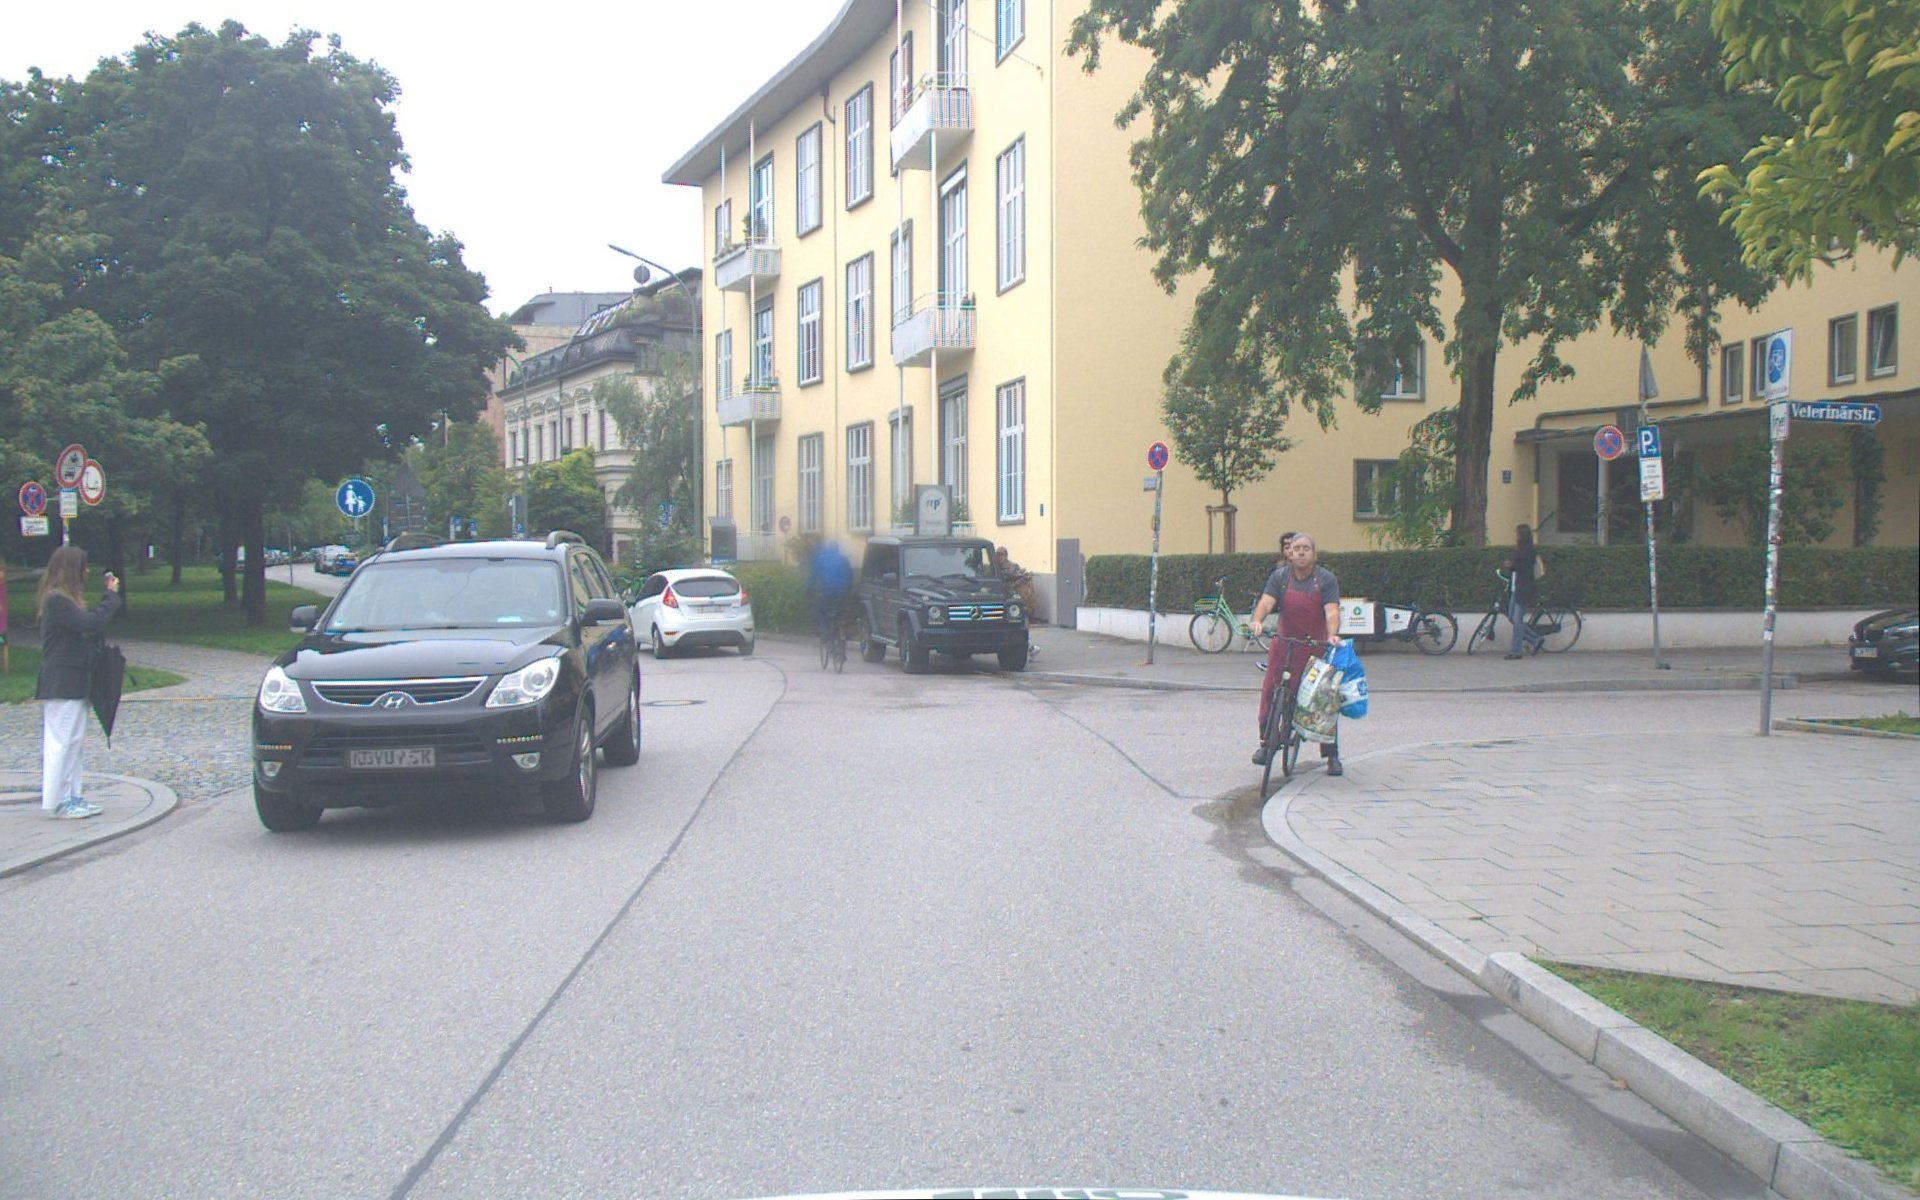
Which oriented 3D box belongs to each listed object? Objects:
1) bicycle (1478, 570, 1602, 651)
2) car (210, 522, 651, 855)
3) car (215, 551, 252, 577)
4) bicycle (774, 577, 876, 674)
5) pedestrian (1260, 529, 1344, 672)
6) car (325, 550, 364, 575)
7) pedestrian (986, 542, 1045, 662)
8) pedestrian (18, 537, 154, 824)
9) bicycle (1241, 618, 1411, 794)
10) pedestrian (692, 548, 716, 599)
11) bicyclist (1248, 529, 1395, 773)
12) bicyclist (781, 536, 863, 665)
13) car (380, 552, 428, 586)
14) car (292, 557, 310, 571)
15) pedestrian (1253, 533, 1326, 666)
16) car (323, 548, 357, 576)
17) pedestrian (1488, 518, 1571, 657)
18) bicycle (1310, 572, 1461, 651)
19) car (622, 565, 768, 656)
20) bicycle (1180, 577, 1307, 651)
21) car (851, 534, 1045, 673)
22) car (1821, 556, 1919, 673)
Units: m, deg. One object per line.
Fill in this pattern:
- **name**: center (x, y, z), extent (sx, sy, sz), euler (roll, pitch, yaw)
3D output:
- **bicycle**: center (8.390, 0.147, 23.937), extent (1.648, 1.150, 0.460), euler (-1, 1, -4)
- **car**: center (-3.251, 0.396, 11.163), extent (1.955, 1.749, 4.609), euler (-1, 2, -7)
- **car**: center (-47.022, -2.353, 107.028), extent (1.969, 1.628, 4.430), euler (-1, 2, -26)
- **bicycle**: center (-1.984, 0.333, 23.882), extent (0.907, 1.274, 2.308), euler (-1, 2, -19)
- **pedestrian**: center (4.487, -0.005, 21.752), extent (0.969, 1.840, 0.660), euler (-1, 1, 2)
- **car**: center (-40.865, -2.473, 109.747), extent (1.970, 1.628, 4.217), euler (-1, 2, -27)
- **pedestrian**: center (0.842, 0.016, 25.188), extent (0.831, 1.788, 0.953), euler (-1, 2, -1)
- **pedestrian**: center (-5.476, 0.479, 10.396), extent (0.533, 1.726, 0.664), euler (-2, 1, -14)
- **bicycle**: center (2.536, 0.694, 11.717), extent (0.858, 1.037, 2.192), euler (0, 2, 4)
- **pedestrian**: center (-8.735, -0.899, 56.406), extent (0.623, 1.713, 0.692), euler (-2, 2, -25)
- **bicyclist**: center (2.518, 0.328, 11.624), extent (0.857, 1.637, 1.050), euler (0, 1, 3)
- **bicyclist**: center (-2.000, -0.015, 23.897), extent (0.900, 1.794, 1.208), euler (-1, 2, -20)
- **car**: center (-28.922, -1.606, 85.919), extent (1.772, 1.709, 3.965), euler (-1, 2, -27)
- **car**: center (-78.496, -4.316, 197.133), extent (1.775, 1.687, 4.226), euler (-1, 1, -19)
- **pedestrian**: center (4.474, -0.017, 22.513), extent (0.810, 1.776, 0.740), euler (-1, 1, -3)
- **car**: center (-44.365, -2.728, 118.344), extent (2.038, 2.000, 4.941), euler (-1, 2, -23)
- **pedestrian**: center (7.931, -0.182, 23.058), extent (0.833, 1.890, 0.766), euler (-2, 1, -3)
- **bicycle**: center (6.242, 0.162, 24.328), extent (2.121, 1.135, 0.641), euler (0, 2, 14)
- **car**: center (-4.674, 0.130, 28.798), extent (1.723, 1.430, 3.702), euler (-1, 2, -22)
- **bicycle**: center (4.351, 0.230, 25.496), extent (1.914, 1.103, 0.526), euler (-2, 0, 41)
- **car**: center (-0.292, -0.028, 25.382), extent (1.843, 1.920, 4.599), euler (-1, 2, -16)
- **car**: center (13.303, 0.170, 20.669), extent (4.232, 1.391, 1.662), euler (-1, -1, -1)
